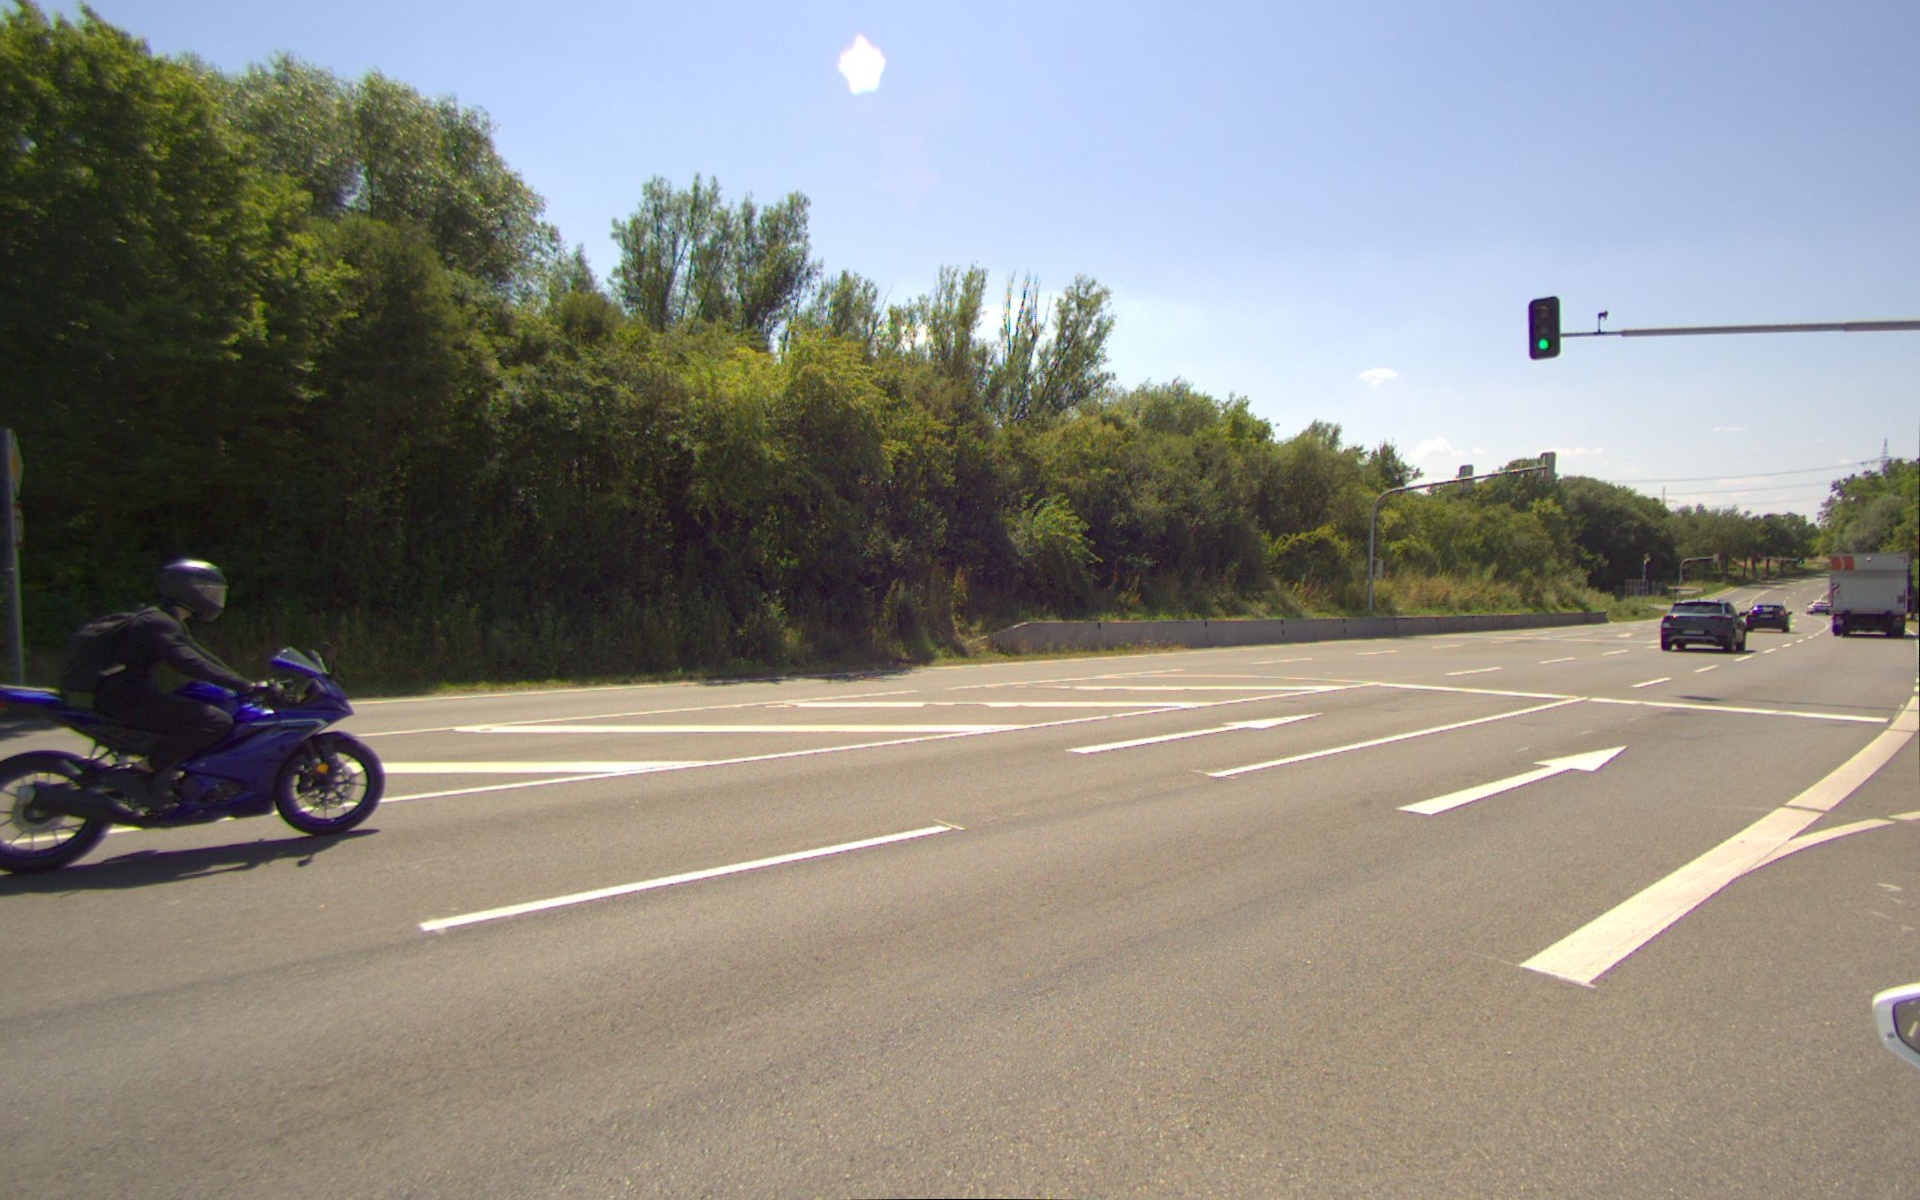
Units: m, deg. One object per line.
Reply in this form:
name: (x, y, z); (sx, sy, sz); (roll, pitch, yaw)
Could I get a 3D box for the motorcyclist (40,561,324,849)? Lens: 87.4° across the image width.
motorcyclist: (-4.335, 0.531, 5.691); (1.164, 1.431, 0.867); (2, 0, -36)

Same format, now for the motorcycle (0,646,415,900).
motorcycle: (-4.349, 0.886, 5.682); (2.148, 1.157, 0.854); (0, 1, -36)

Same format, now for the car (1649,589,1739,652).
car: (22.669, 0.617, 30.972); (1.970, 1.773, 3.981); (2, 0, 40)

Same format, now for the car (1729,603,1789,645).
car: (41.108, 1.210, 51.747); (1.966, 2.040, 3.989); (2, 0, 33)

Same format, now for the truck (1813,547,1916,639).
truck: (41.200, -0.268, 45.796); (3.230, 3.891, 6.169); (2, 0, 42)
